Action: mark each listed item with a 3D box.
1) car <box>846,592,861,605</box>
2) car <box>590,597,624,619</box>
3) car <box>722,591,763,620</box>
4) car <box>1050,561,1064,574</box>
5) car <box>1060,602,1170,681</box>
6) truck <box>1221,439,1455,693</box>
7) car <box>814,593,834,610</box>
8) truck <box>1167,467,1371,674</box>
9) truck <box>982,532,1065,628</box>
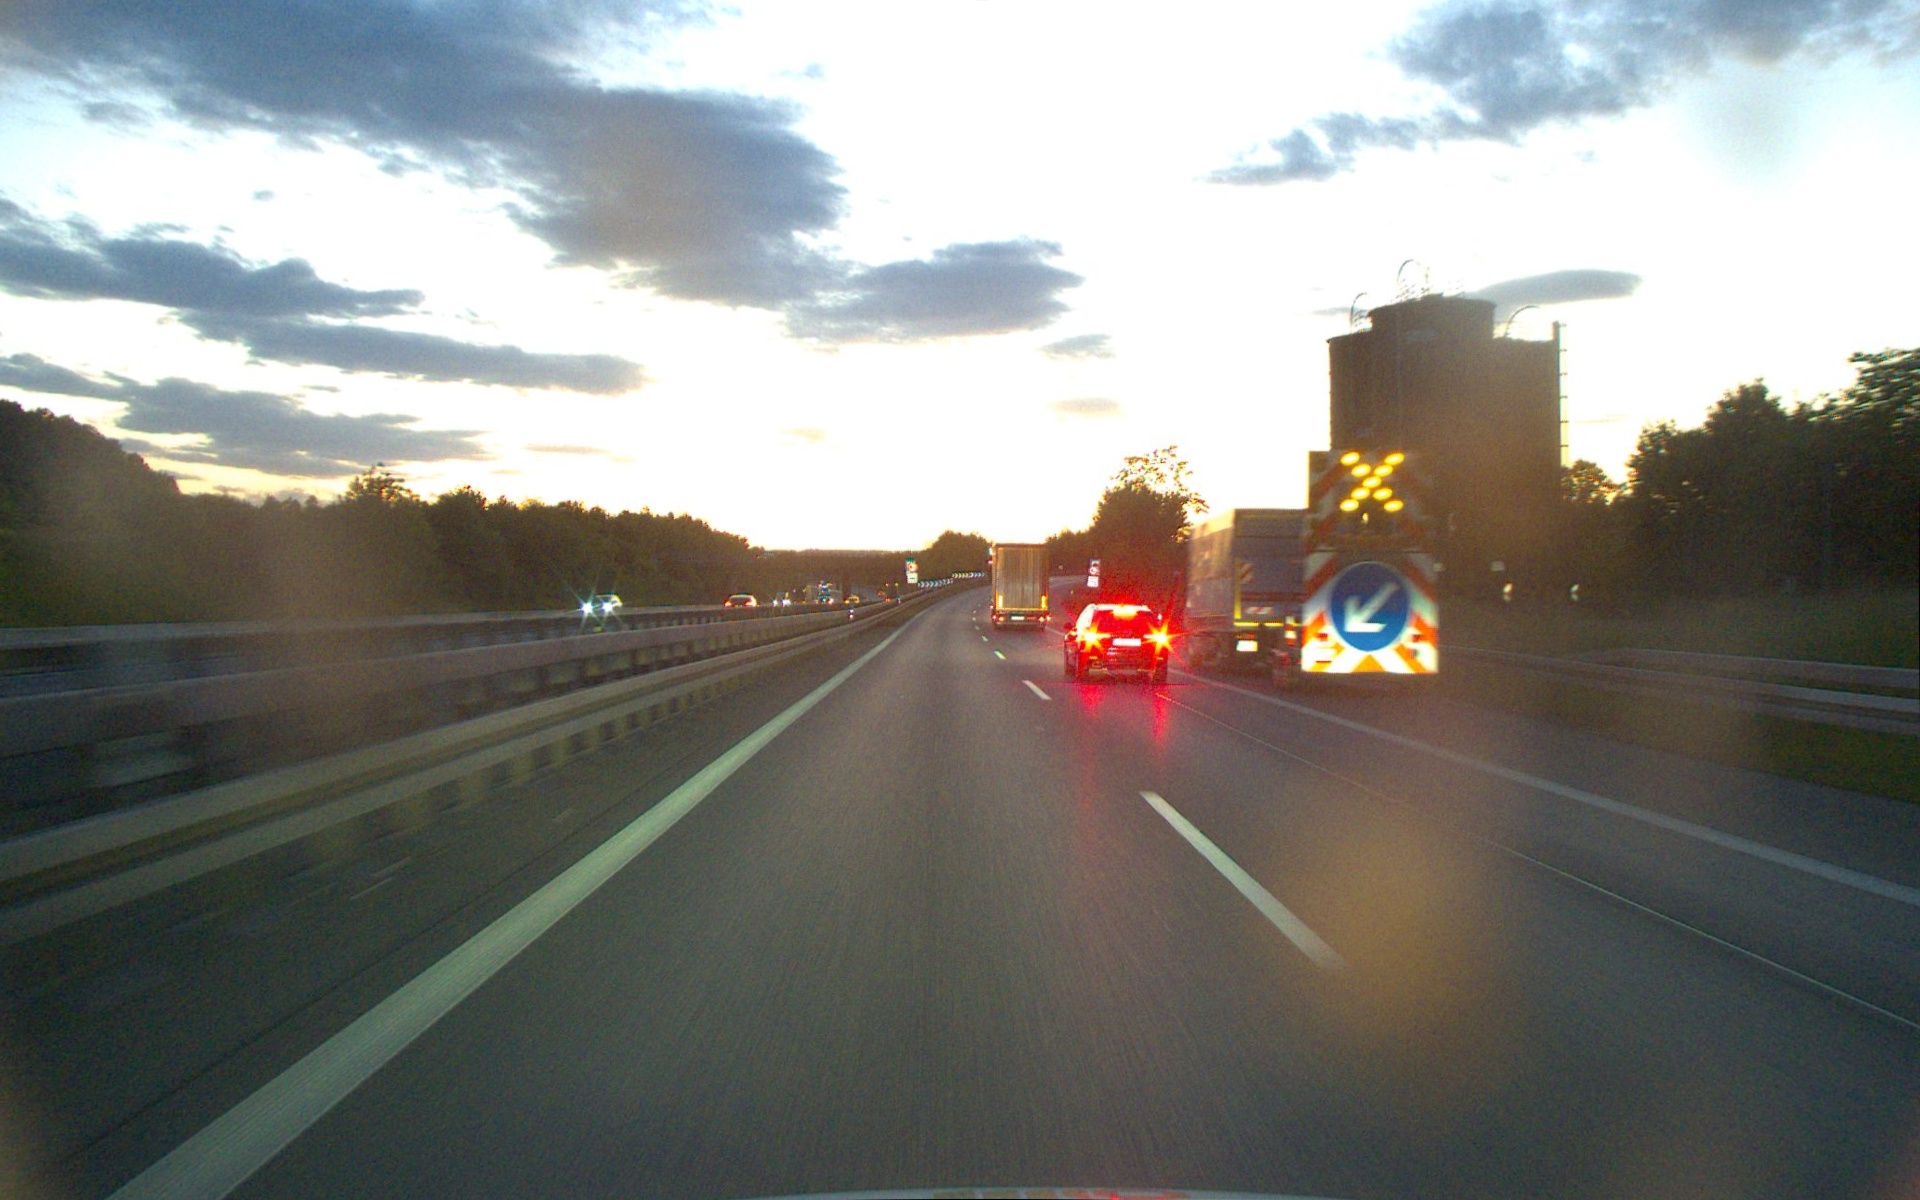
[{"bbox_3d":[-13.374,-0.161,207.915,1.604,1.573,3.394,-2,0,0],"label":"car"},{"bbox_3d":[-25.033,0.585,117.292,1.634,1.520,3.673,0,0,-1],"label":"car"},{"bbox_3d":[-12.831,0.334,97.820,1.834,1.588,4.519,-2,0,-1],"label":"car"},{"bbox_3d":[15.134,-5.062,258.663,1.862,2.049,3.860,0,0,-1],"label":"car"},{"bbox_3d":[3.023,0.781,32.960,1.875,1.467,4.000,0,0,1],"label":"car"},{"bbox_3d":[6.673,-0.572,30.172,2.731,4.130,6.410,0,0,-1],"label":"truck"},{"bbox_3d":[-13.560,0.155,164.697,1.678,1.633,3.721,-2,0,-1],"label":"car"},{"bbox_3d":[6.802,-0.614,37.953,2.854,4.183,9.148,0,0,-1],"label":"truck"},{"bbox_3d":[3.017,-0.923,81.511,3.438,4.376,9.889,-2,0,-1],"label":"truck"}]
